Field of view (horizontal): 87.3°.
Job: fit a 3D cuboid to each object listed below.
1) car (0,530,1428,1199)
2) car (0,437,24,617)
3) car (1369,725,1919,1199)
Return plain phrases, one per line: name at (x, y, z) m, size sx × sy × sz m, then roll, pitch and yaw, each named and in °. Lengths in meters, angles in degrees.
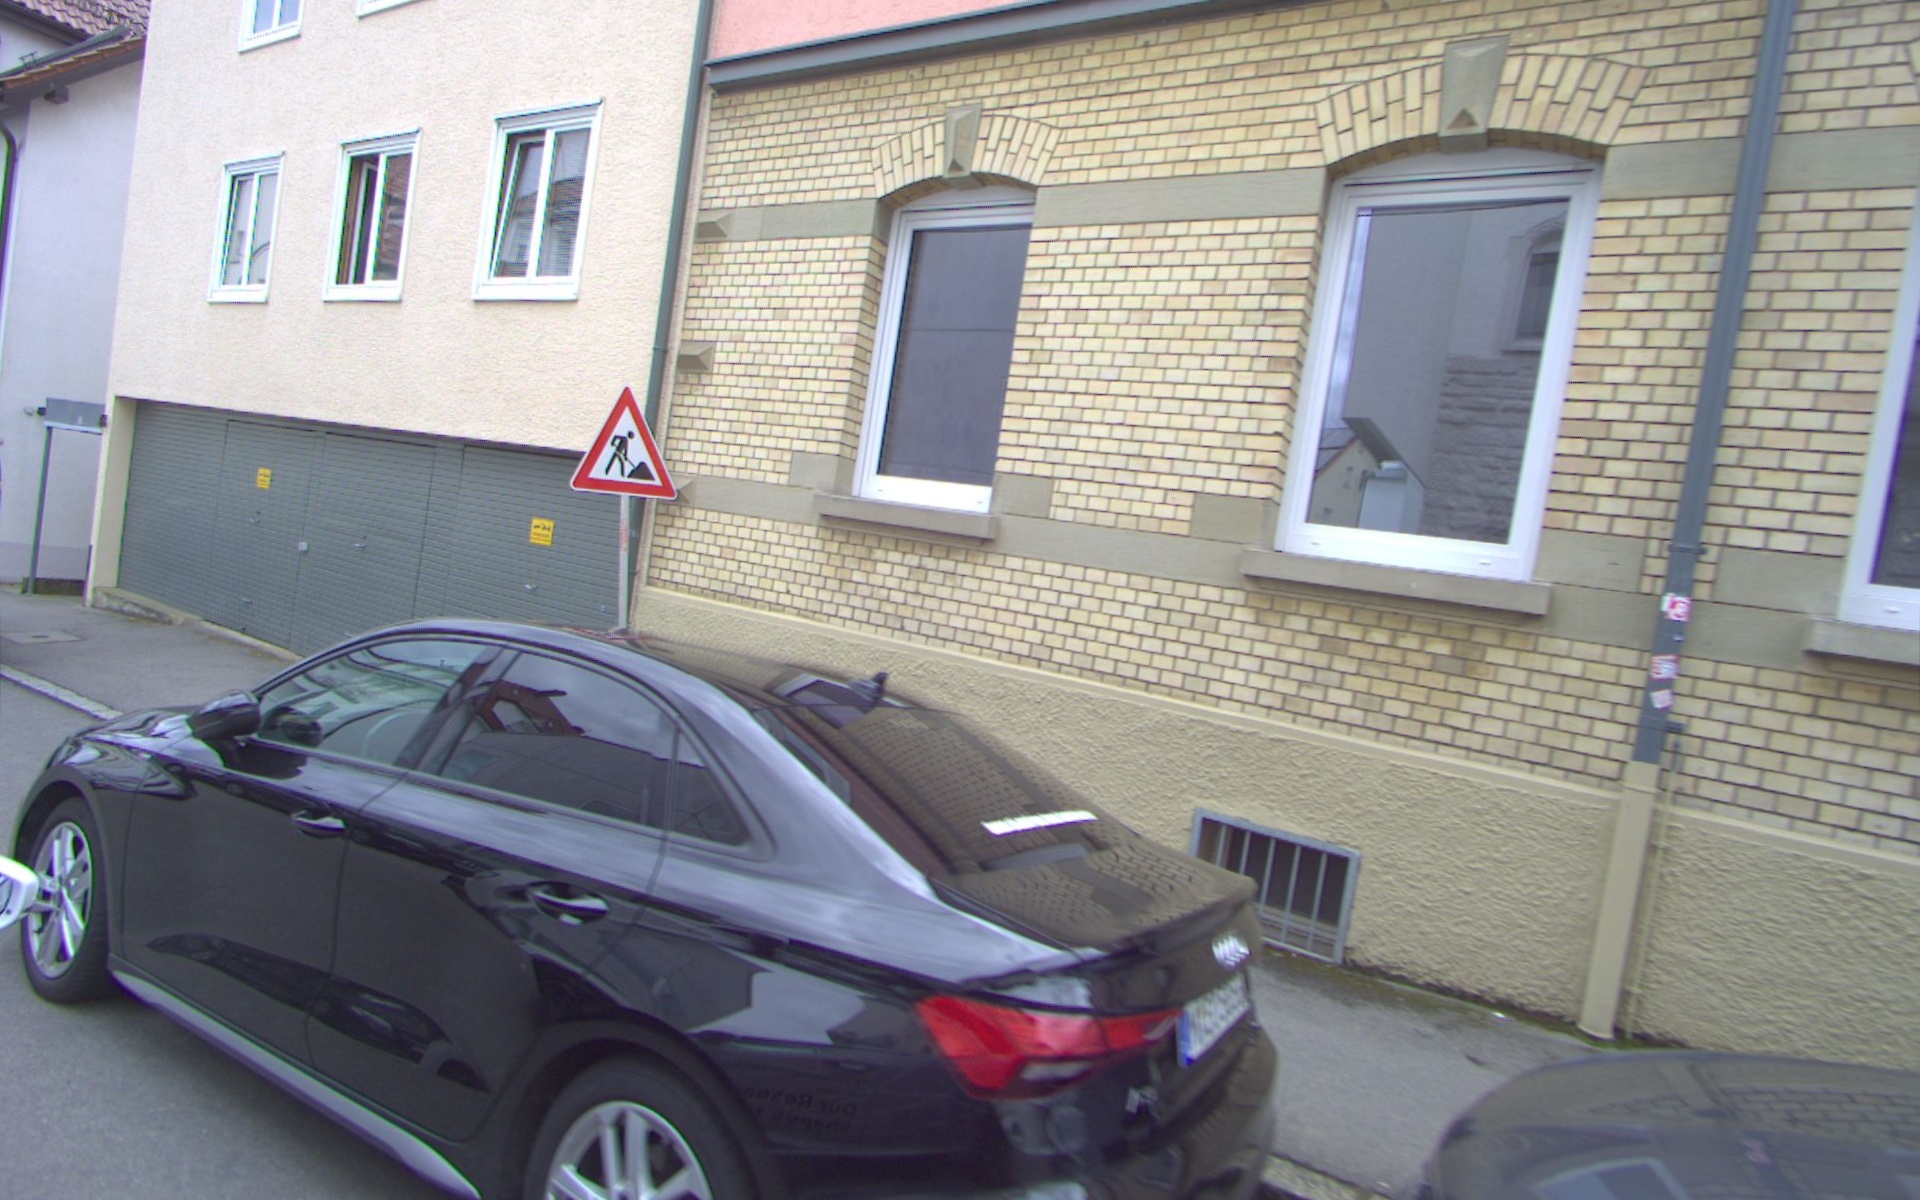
car at (-1.134, 0.799, 3.199) m, size 4.497 × 1.420 × 1.856 m, roll 8°, pitch -1°, yaw 30°
car at (-11.005, -0.753, 9.243) m, size 5.637 × 2.054 × 1.909 m, roll 8°, pitch -1°, yaw 31°
car at (2.574, 1.204, 1.068) m, size 3.898 × 1.420 × 1.857 m, roll 8°, pitch -1°, yaw 28°
